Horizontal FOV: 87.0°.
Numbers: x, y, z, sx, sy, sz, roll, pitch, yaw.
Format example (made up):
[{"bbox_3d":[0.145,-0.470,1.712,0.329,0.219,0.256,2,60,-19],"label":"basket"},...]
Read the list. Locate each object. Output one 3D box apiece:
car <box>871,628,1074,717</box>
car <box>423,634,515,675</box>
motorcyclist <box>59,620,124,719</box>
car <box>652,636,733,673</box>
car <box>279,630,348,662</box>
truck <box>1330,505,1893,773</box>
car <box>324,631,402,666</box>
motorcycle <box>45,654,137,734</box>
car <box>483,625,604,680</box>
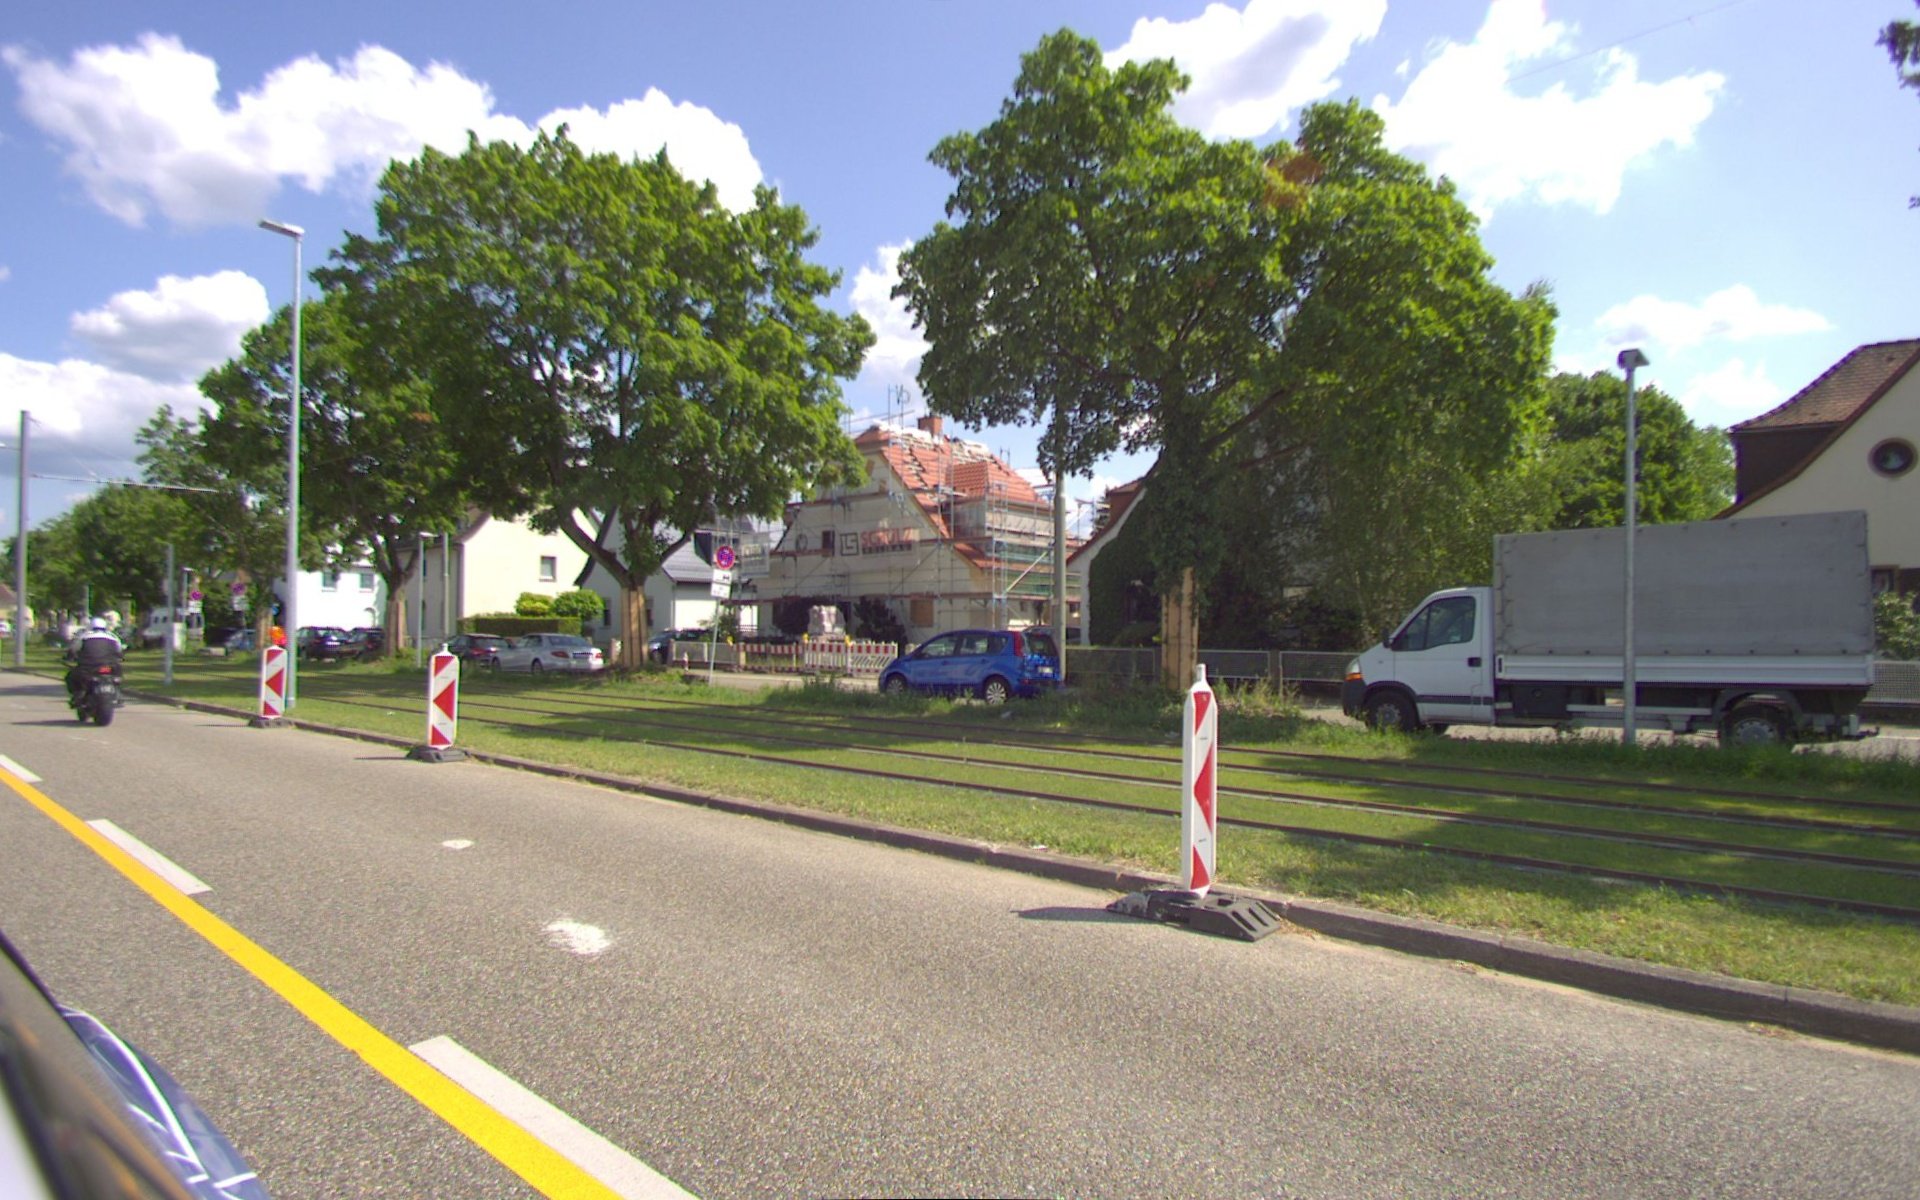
[{"bbox_3d":[0.188,1.368,20.230,3.929,1.524,1.651,-1,0,41],"label":"car"},{"bbox_3d":[-17.379,1.884,35.755,3.785,1.251,1.604,-1,0,41],"label":"car"},{"bbox_3d":[-13.178,1.036,15.362,0.588,1.453,0.643,-1,-2,41],"label":"motorcyclist"},{"bbox_3d":[-11.283,2.277,42.677,3.190,1.393,1.492,-1,0,-19],"label":"car"},{"bbox_3d":[-29.386,2.040,45.950,3.998,1.311,1.615,-1,0,41],"label":"car"},{"bbox_3d":[8.357,0.433,13.546,5.948,2.826,2.340,-1,0,41],"label":"truck"},{"bbox_3d":[-24.834,1.981,42.048,3.998,1.311,1.615,-1,0,41],"label":"car"},{"bbox_3d":[-13.246,1.386,15.400,2.465,1.050,0.697,-1,-2,41],"label":"motorcycle"},{"bbox_3d":[-13.159,1.603,31.843,4.522,1.524,1.685,-1,0,41],"label":"car"}]
